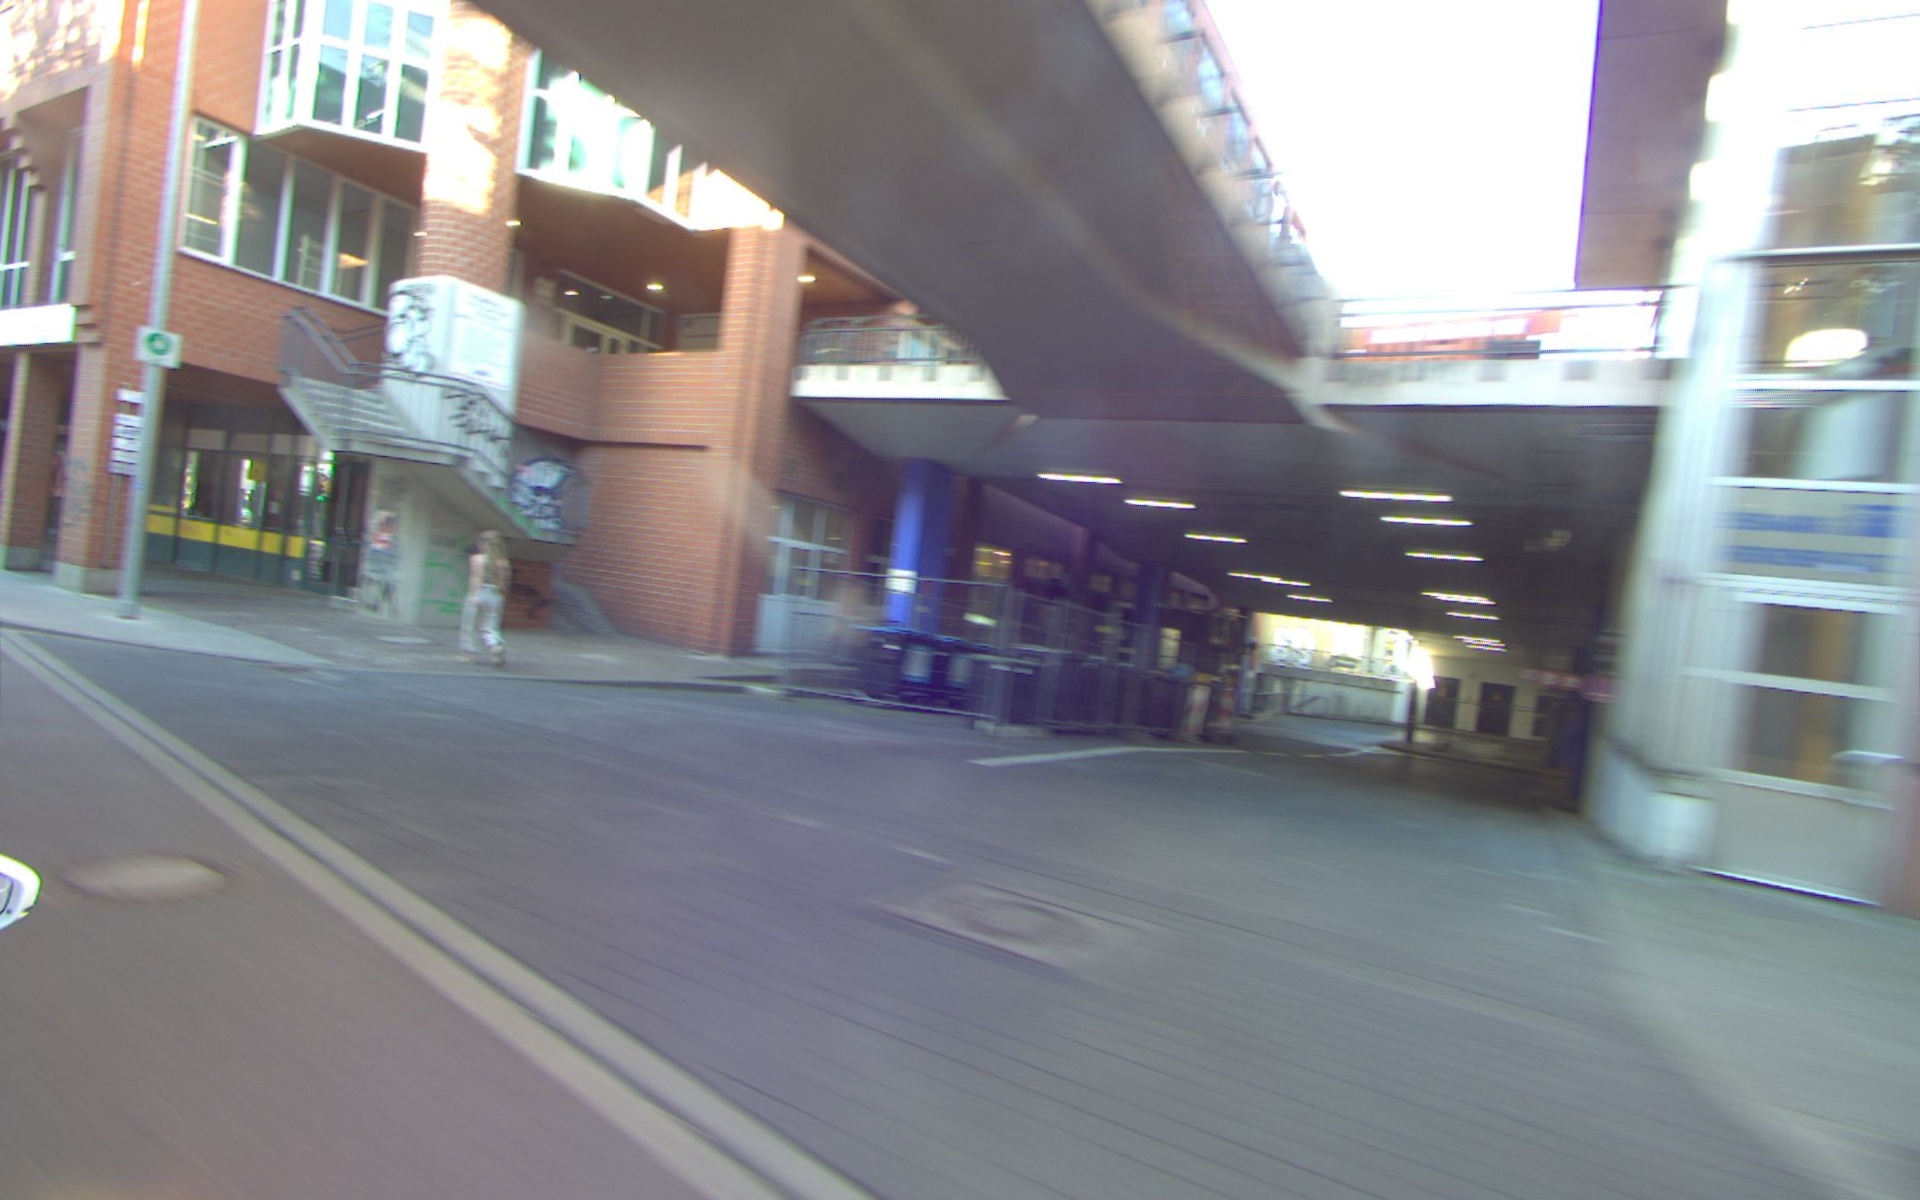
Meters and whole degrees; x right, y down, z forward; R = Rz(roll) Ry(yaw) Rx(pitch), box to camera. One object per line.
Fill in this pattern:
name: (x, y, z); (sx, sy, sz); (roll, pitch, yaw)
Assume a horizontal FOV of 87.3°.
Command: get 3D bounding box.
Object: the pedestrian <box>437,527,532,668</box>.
pedestrian: (-5.978, -0.027, 12.649); (0.764, 1.653, 0.570); (7, 0, 29)
